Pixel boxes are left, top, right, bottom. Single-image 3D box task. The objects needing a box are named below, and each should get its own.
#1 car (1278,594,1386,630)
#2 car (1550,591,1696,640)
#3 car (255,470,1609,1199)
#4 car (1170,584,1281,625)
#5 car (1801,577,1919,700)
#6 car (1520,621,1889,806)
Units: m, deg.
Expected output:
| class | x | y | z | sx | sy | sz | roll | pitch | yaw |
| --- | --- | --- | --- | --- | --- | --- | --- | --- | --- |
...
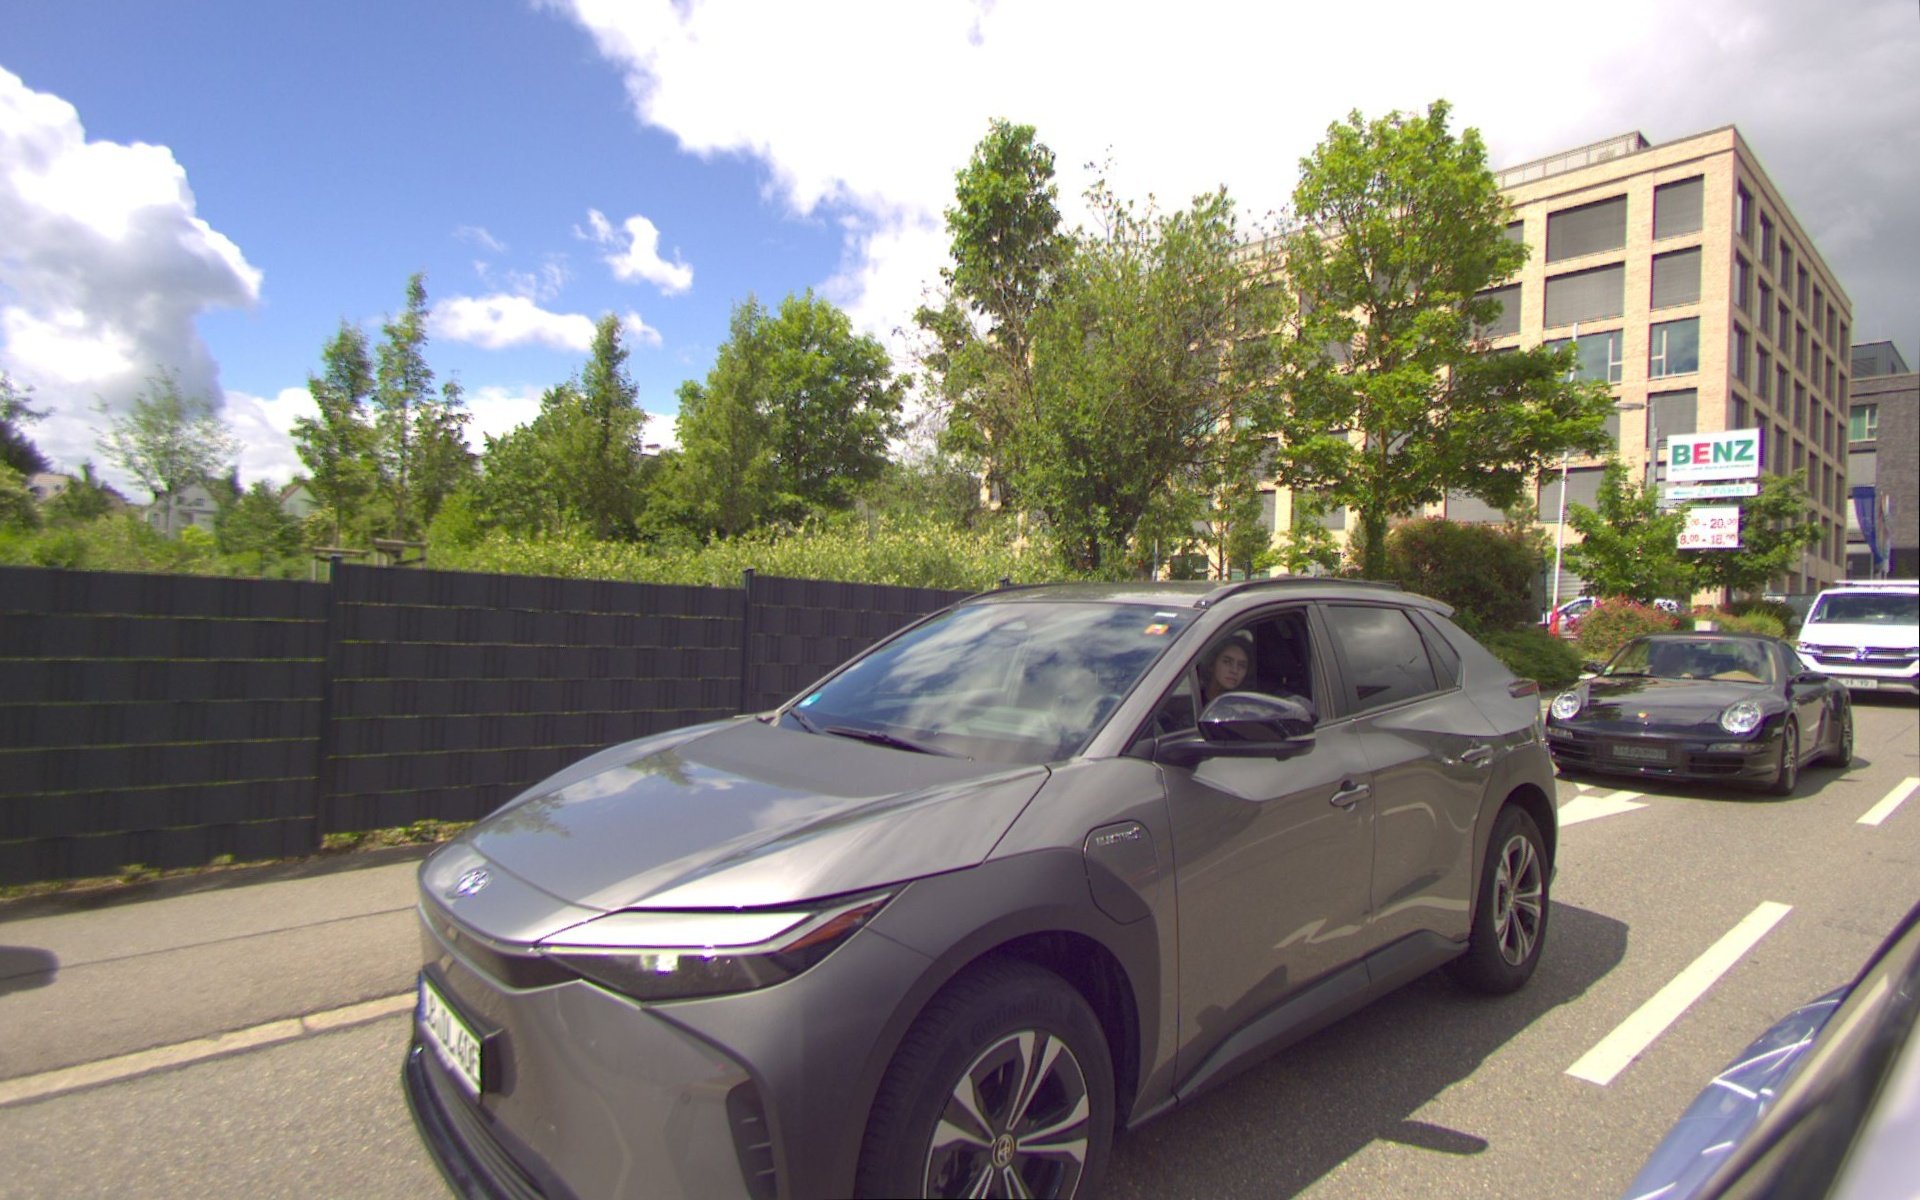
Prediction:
| class | x | y | z | sx | sy | sz | roll | pitch | yaw |
| --- | --- | --- | --- | --- | --- | --- | --- | --- | --- |
| car | 16.675 | 0.523 | 45.510 | 1.705 | 1.436 | 4.215 | 1 | 1 | -41 |
| car | 24.294 | 0.523 | 37.163 | 1.707 | 1.596 | 4.211 | 1 | 1 | -44 |
| car | 0.425 | 0.670 | 3.568 | 4.601 | 1.634 | 1.922 | 1 | -1 | -41 |
| car | 10.275 | 0.155 | 39.413 | 1.572 | 1.427 | 3.994 | 0 | 1 | -41 |
| car | 16.093 | 0.612 | 17.278 | 4.563 | 1.874 | 1.962 | 1 | -1 | -41 |
| car | 7.094 | 0.864 | 9.458 | 4.487 | 1.290 | 1.776 | 1 | -1 | -40 |
